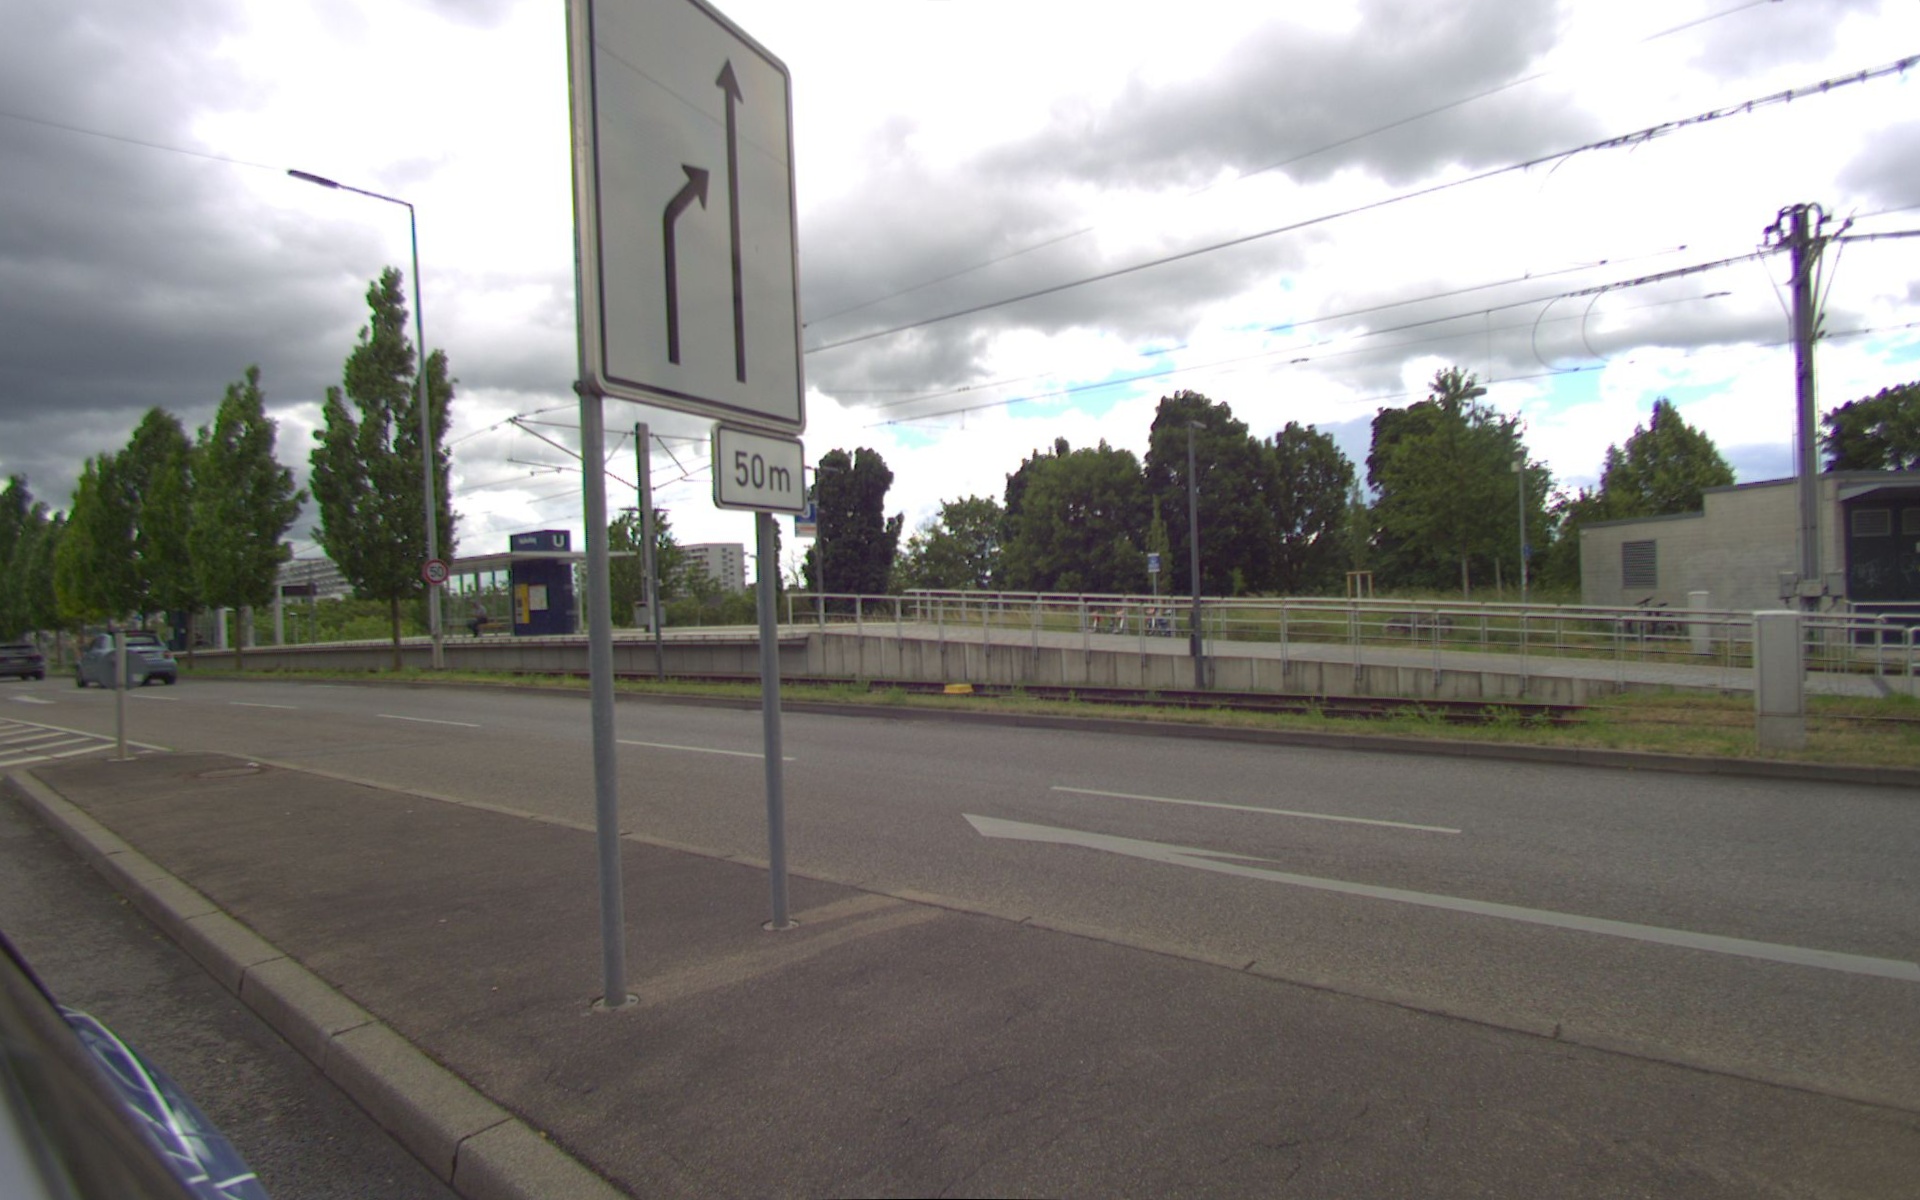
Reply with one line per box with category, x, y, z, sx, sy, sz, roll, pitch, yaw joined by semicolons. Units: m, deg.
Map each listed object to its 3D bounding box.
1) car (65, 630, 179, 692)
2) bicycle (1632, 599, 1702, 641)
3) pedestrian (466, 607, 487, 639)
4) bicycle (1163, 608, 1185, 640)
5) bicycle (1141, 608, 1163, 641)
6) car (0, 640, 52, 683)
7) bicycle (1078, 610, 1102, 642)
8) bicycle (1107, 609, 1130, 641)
car;-23.586;1.664;28.460;3.596;1.540;1.740;-1;0;38
bicycle;18.201;0.498;26.095;0.529;1.039;1.813;-1;0;1
pedestrian;-18.130;0.860;37.962;0.447;1.163;0.593;-1;0;41
bicycle;7.137;0.789;33.694;0.531;1.039;1.804;-1;0;16
bicycle;6.452;0.809;33.983;0.531;1.039;1.804;-1;0;16
car;-36.452;2.320;38.582;4.424;1.435;1.854;-1;0;36
bicycle;4.478;0.875;34.782;0.531;1.039;1.804;-1;0;16
bicycle;5.396;0.843;34.436;0.531;1.039;1.804;-1;0;16
